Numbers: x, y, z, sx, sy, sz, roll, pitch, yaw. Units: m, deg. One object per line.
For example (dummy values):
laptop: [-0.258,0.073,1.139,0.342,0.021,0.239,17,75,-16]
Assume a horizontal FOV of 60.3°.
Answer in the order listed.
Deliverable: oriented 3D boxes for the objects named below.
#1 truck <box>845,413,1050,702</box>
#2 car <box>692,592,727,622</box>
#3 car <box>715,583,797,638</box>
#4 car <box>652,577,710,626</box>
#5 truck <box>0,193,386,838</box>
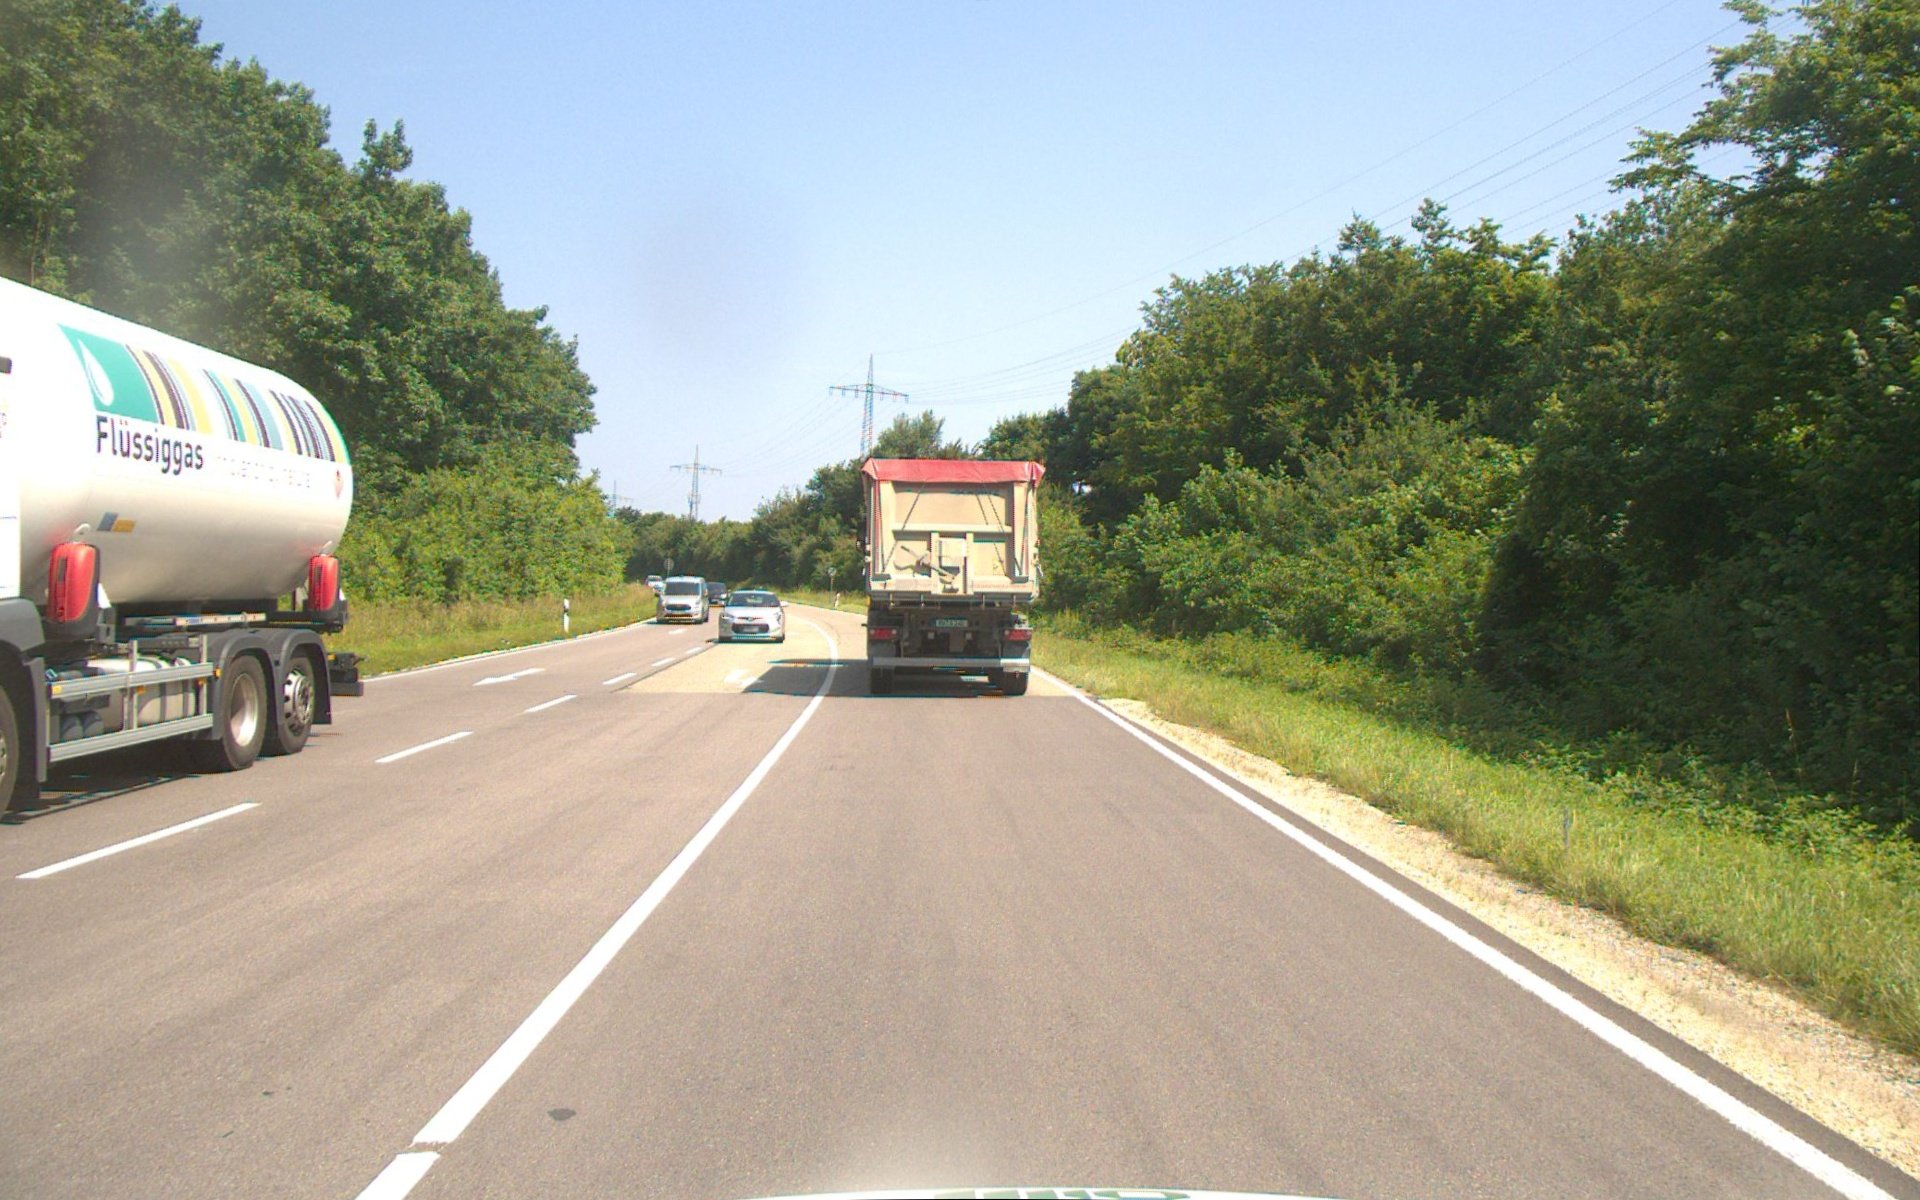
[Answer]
truck: [-0.408,-0.662,29.259,2.835,4.031,11.927,1,1,-2]
car: [-15.844,0.465,104.711,1.806,1.810,4.888,1,-1,-5]
car: [-5.650,0.298,46.256,1.673,1.444,4.098,1,-1,1]
car: [-10.879,0.090,64.802,1.806,1.810,4.888,1,-1,-5]
truck: [-7.019,-0.497,12.665,2.575,3.735,8.790,1,0,-3]
